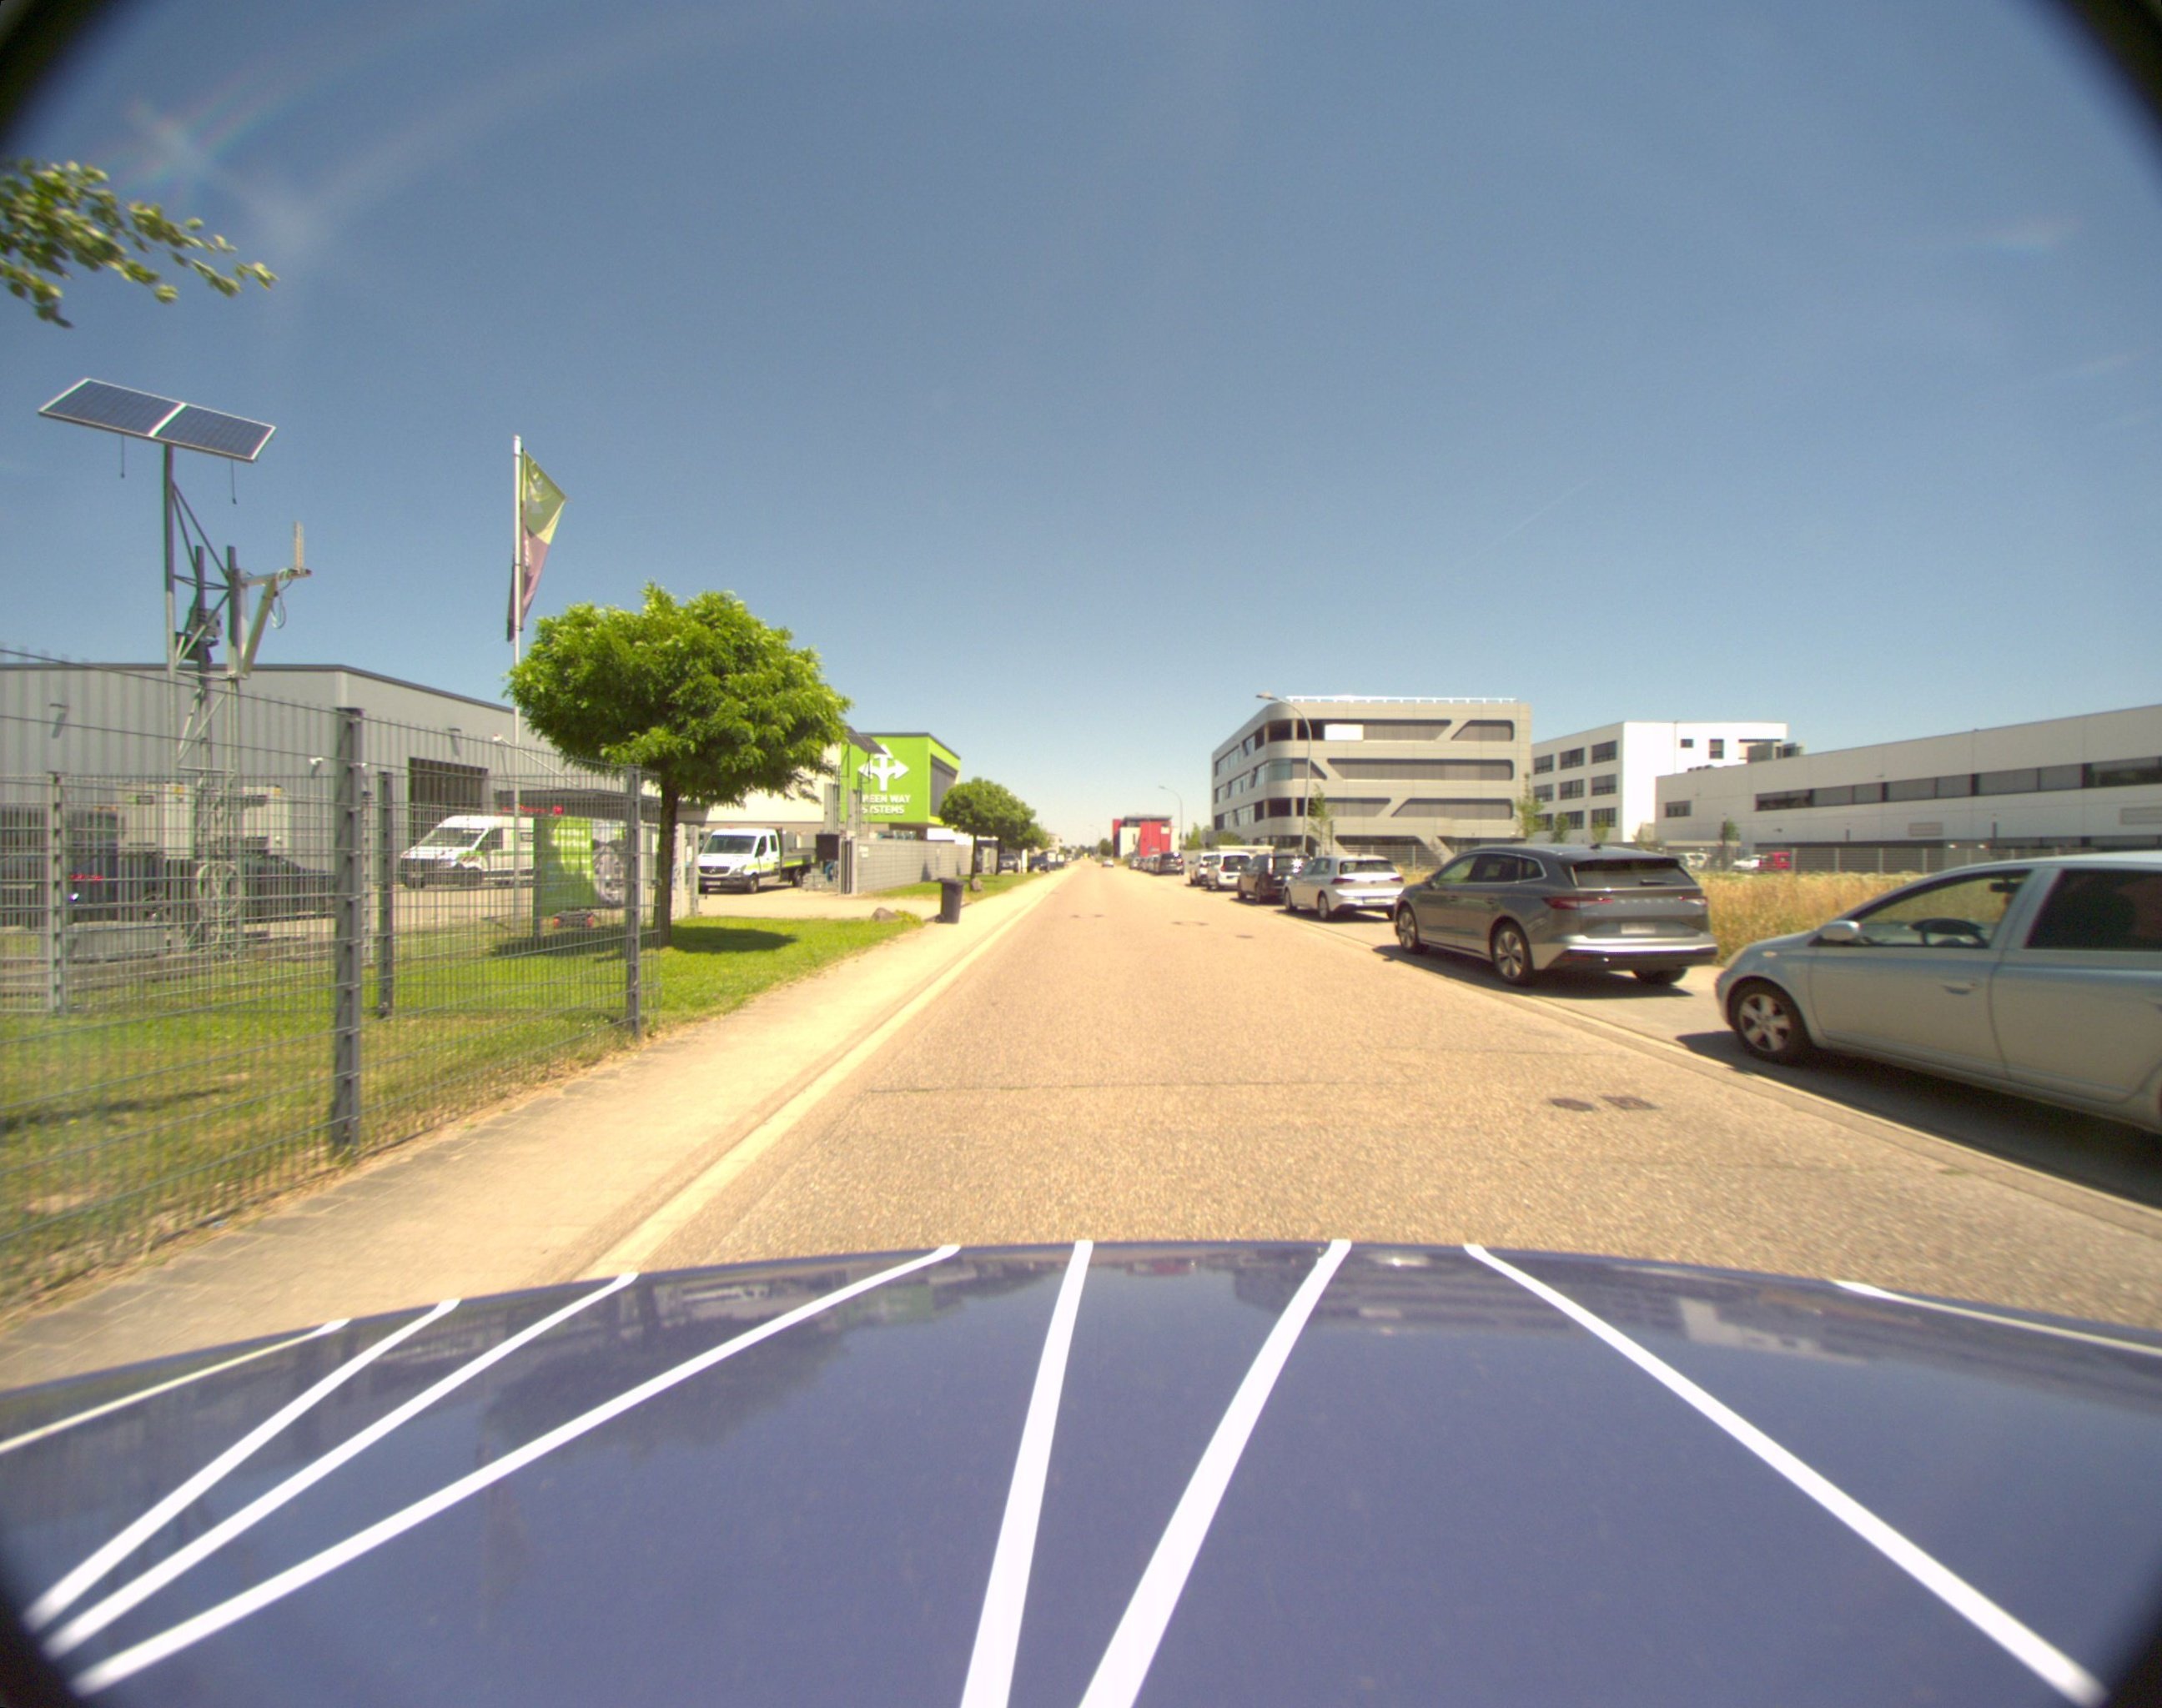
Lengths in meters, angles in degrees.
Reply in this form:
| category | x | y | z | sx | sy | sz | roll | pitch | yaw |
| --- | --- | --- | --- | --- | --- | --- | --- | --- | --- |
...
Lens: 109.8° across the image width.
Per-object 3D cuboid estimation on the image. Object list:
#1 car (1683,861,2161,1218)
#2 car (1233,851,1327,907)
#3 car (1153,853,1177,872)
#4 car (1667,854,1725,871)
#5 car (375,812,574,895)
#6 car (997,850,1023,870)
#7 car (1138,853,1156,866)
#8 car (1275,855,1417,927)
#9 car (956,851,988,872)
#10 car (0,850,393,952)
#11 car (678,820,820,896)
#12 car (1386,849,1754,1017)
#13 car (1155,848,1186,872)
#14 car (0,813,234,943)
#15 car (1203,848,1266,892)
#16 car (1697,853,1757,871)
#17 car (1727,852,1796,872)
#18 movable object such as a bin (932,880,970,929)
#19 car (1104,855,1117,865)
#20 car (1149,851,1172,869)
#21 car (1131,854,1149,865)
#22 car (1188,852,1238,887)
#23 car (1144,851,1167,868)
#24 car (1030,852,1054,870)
| category | x | y | z | sx | sy | sz | roll | pitch | yaw |
| --- | --- | --- | --- | --- | --- | --- | --- | --- | --- |
| car | 5.661 | 0.843 | 4.208 | 1.698 | 1.516 | 3.735 | -1 | 1 | 0 |
| car | 5.973 | 0.696 | 23.355 | 1.767 | 1.508 | 4.379 | -1 | 0 | 1 |
| car | 6.733 | 0.675 | 61.381 | 1.638 | 1.491 | 3.972 | -1 | 0 | 2 |
| car | 57.880 | 0.772 | 71.561 | 3.999 | 1.576 | 1.921 | 1 | 0 | -6 |
| car | -20.768 | -0.031 | 26.489 | 2.134 | 2.480 | 5.860 | 2 | 0 | 1 |
| car | -6.000 | 0.495 | 64.787 | 1.727 | 1.623 | 4.022 | -1 | 0 | 1 |
| car | 7.189 | 0.639 | 83.249 | 1.688 | 1.378 | 4.640 | 0 | -1 | 2 |
| car | 6.072 | 0.764 | 17.948 | 1.768 | 1.442 | 4.199 | -1 | 0 | -2 |
| car | -8.210 | 0.545 | 57.585 | 1.742 | 1.390 | 4.053 | 0 | 2 | 1 |
| car | -14.951 | 0.674 | 13.051 | 1.998 | 1.430 | 4.612 | 0 | 0 | 1 |
| car | -12.316 | 0.116 | 28.940 | 2.134 | 2.480 | 7.025 | 2 | 0 | 1 |
| car | 5.657 | 0.758 | 9.622 | 1.795 | 1.598 | 4.462 | -1 | 1 | 0 |
| car | 6.543 | 0.425 | 56.028 | 1.807 | 1.709 | 4.622 | -1 | 0 | 1 |
| car | -17.597 | 0.369 | 12.022 | 1.998 | 1.984 | 5.655 | 0 | 0 | 1 |
| car | 6.182 | 0.595 | 30.987 | 1.791 | 1.647 | 3.768 | -1 | 0 | 0 |
| car | 58.511 | 0.731 | 68.847 | 3.999 | 1.576 | 1.921 | 1 | 0 | -6 |
| car | 57.256 | 0.657 | 63.980 | 3.997 | 1.576 | 1.922 | 1 | 0 | 1 |
| movable object such as a bin | -2.638 | 1.018 | 15.461 | 0.553 | 0.923 | 0.522 | 4 | 2 | 11 |
| car | 4.448 | 0.902 | 115.007 | 1.708 | 1.403 | 4.784 | 2 | 0 | 1 |
| car | 6.921 | 0.518 | 66.300 | 1.639 | 1.527 | 3.657 | -1 | 0 | 0 |
| car | 7.155 | 0.674 | 92.328 | 1.704 | 1.378 | 3.937 | 0 | 0 | -2 |
| car | 6.165 | 0.679 | 35.938 | 1.791 | 1.533 | 4.365 | -1 | 0 | 3 |
| car | 6.989 | 0.536 | 71.867 | 1.707 | 1.527 | 4.572 | -1 | 0 | 0 |
| car | -3.293 | 0.556 | 64.508 | 1.696 | 1.419 | 4.246 | -1 | 0 | 1 |
